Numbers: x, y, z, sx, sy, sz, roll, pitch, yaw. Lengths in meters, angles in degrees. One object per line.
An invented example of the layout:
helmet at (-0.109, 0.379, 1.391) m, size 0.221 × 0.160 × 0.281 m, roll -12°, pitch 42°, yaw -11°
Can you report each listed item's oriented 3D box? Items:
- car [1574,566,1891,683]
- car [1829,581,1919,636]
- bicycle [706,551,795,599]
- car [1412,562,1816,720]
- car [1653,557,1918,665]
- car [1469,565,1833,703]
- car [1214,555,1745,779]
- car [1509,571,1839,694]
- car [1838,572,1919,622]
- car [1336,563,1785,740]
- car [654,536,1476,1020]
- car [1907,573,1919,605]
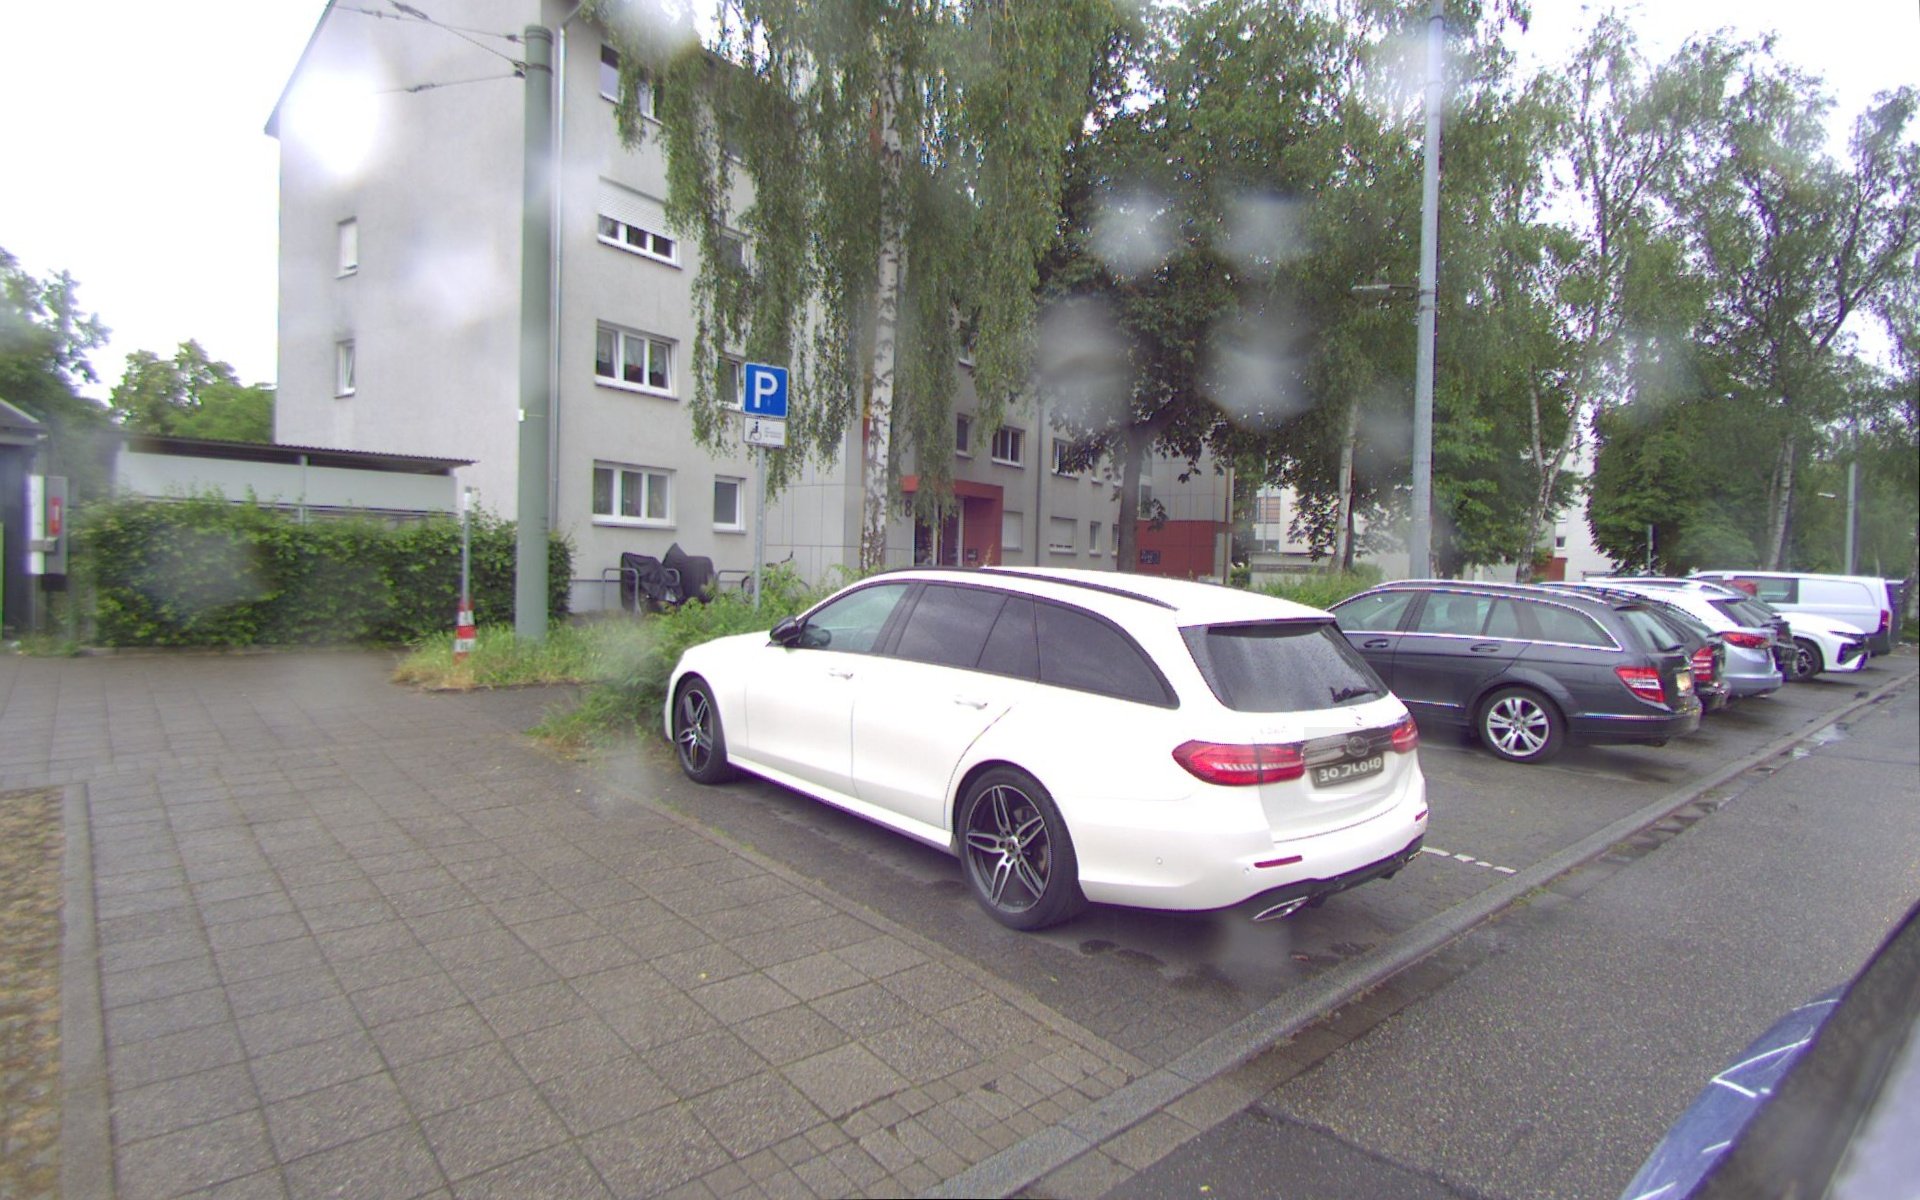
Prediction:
car at (13.699, 0.325, 18.174) m, size 1.651 × 1.637 × 4.181 m, roll 0°, pitch 5°, yaw -40°
car at (34.424, 0.282, 36.804) m, size 1.866 × 1.937 × 3.998 m, roll -1°, pitch 0°, yaw -36°
bicycle at (-4.524, -0.529, 21.972) m, size 0.701 × 1.005 × 1.918 m, roll 0°, pitch 0°, yaw 37°
car at (8.250, 0.386, 13.051) m, size 1.653 × 1.514 × 4.044 m, roll -1°, pitch 5°, yaw -43°
car at (17.546, 0.141, 21.662) m, size 4.172 × 1.888 × 1.654 m, roll 6°, pitch 5°, yaw 43°
car at (9.858, 0.358, 14.679) m, size 1.653 × 1.514 × 4.044 m, roll -1°, pitch 5°, yaw -43°
car at (4.611, 0.417, 9.458) m, size 1.653 × 1.456 × 4.044 m, roll -1°, pitch 5°, yaw -43°
car at (11.377, 0.403, 16.337) m, size 1.653 × 1.514 × 4.044 m, roll -1°, pitch 5°, yaw -43°
car at (37.753, -0.134, 40.224) m, size 1.866 × 1.937 × 3.998 m, roll -1°, pitch 0°, yaw -36°
car at (6.638, 0.417, 11.532) m, size 1.653 × 1.456 × 4.044 m, roll -1°, pitch 5°, yaw -43°
car at (0.081, 0.473, 5.613) m, size 1.651 × 1.456 × 4.622 m, roll -1°, pitch 5°, yaw -41°
car at (53.229, -0.590, 53.784) m, size 1.866 × 1.701 × 3.998 m, roll -1°, pitch 1°, yaw -36°
